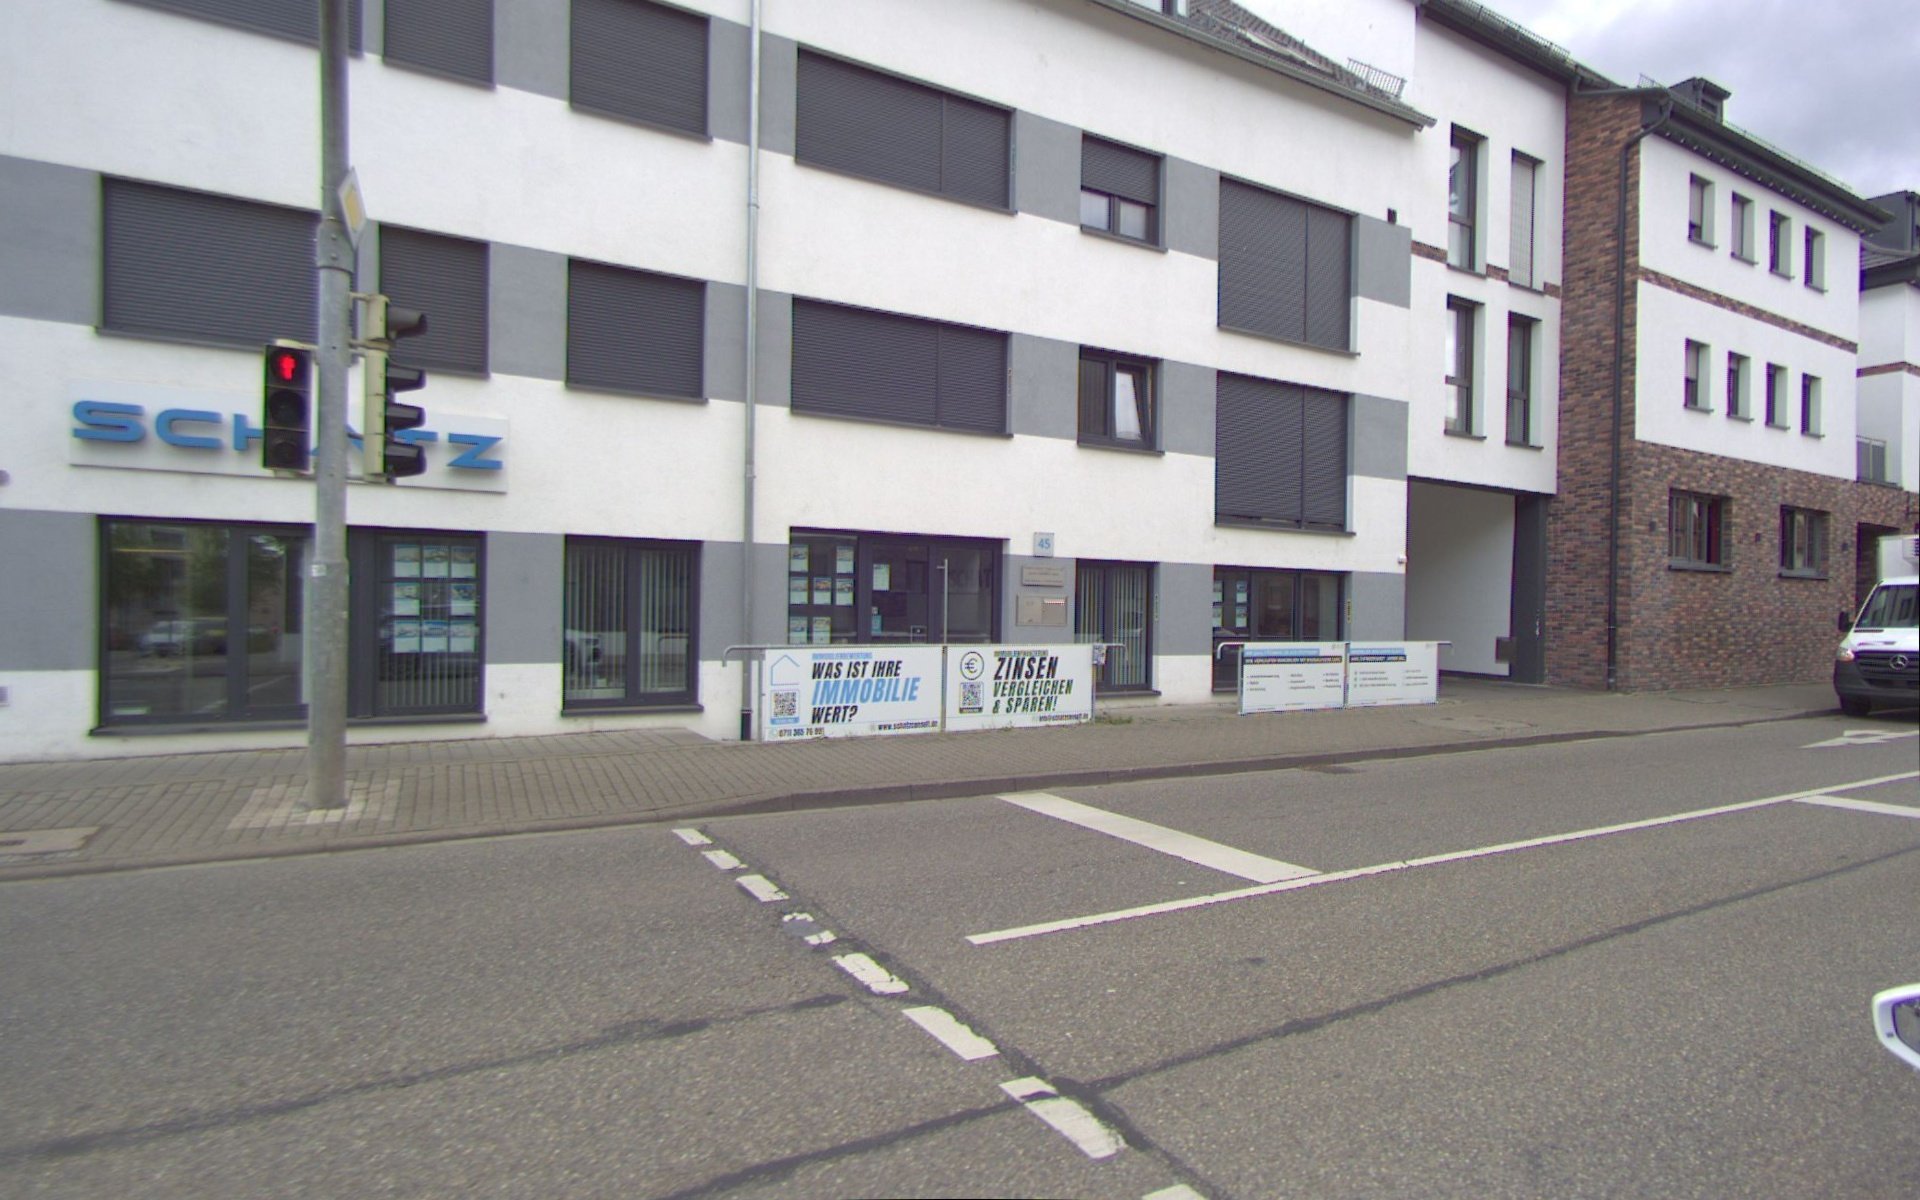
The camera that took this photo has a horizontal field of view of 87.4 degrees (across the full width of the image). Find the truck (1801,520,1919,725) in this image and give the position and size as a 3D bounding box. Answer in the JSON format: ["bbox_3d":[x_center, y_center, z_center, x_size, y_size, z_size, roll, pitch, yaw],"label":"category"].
[{"bbox_3d":[17.514,0.379,16.993,8.266,2.993,2.423,1,-1,-31],"label":"truck"}]
